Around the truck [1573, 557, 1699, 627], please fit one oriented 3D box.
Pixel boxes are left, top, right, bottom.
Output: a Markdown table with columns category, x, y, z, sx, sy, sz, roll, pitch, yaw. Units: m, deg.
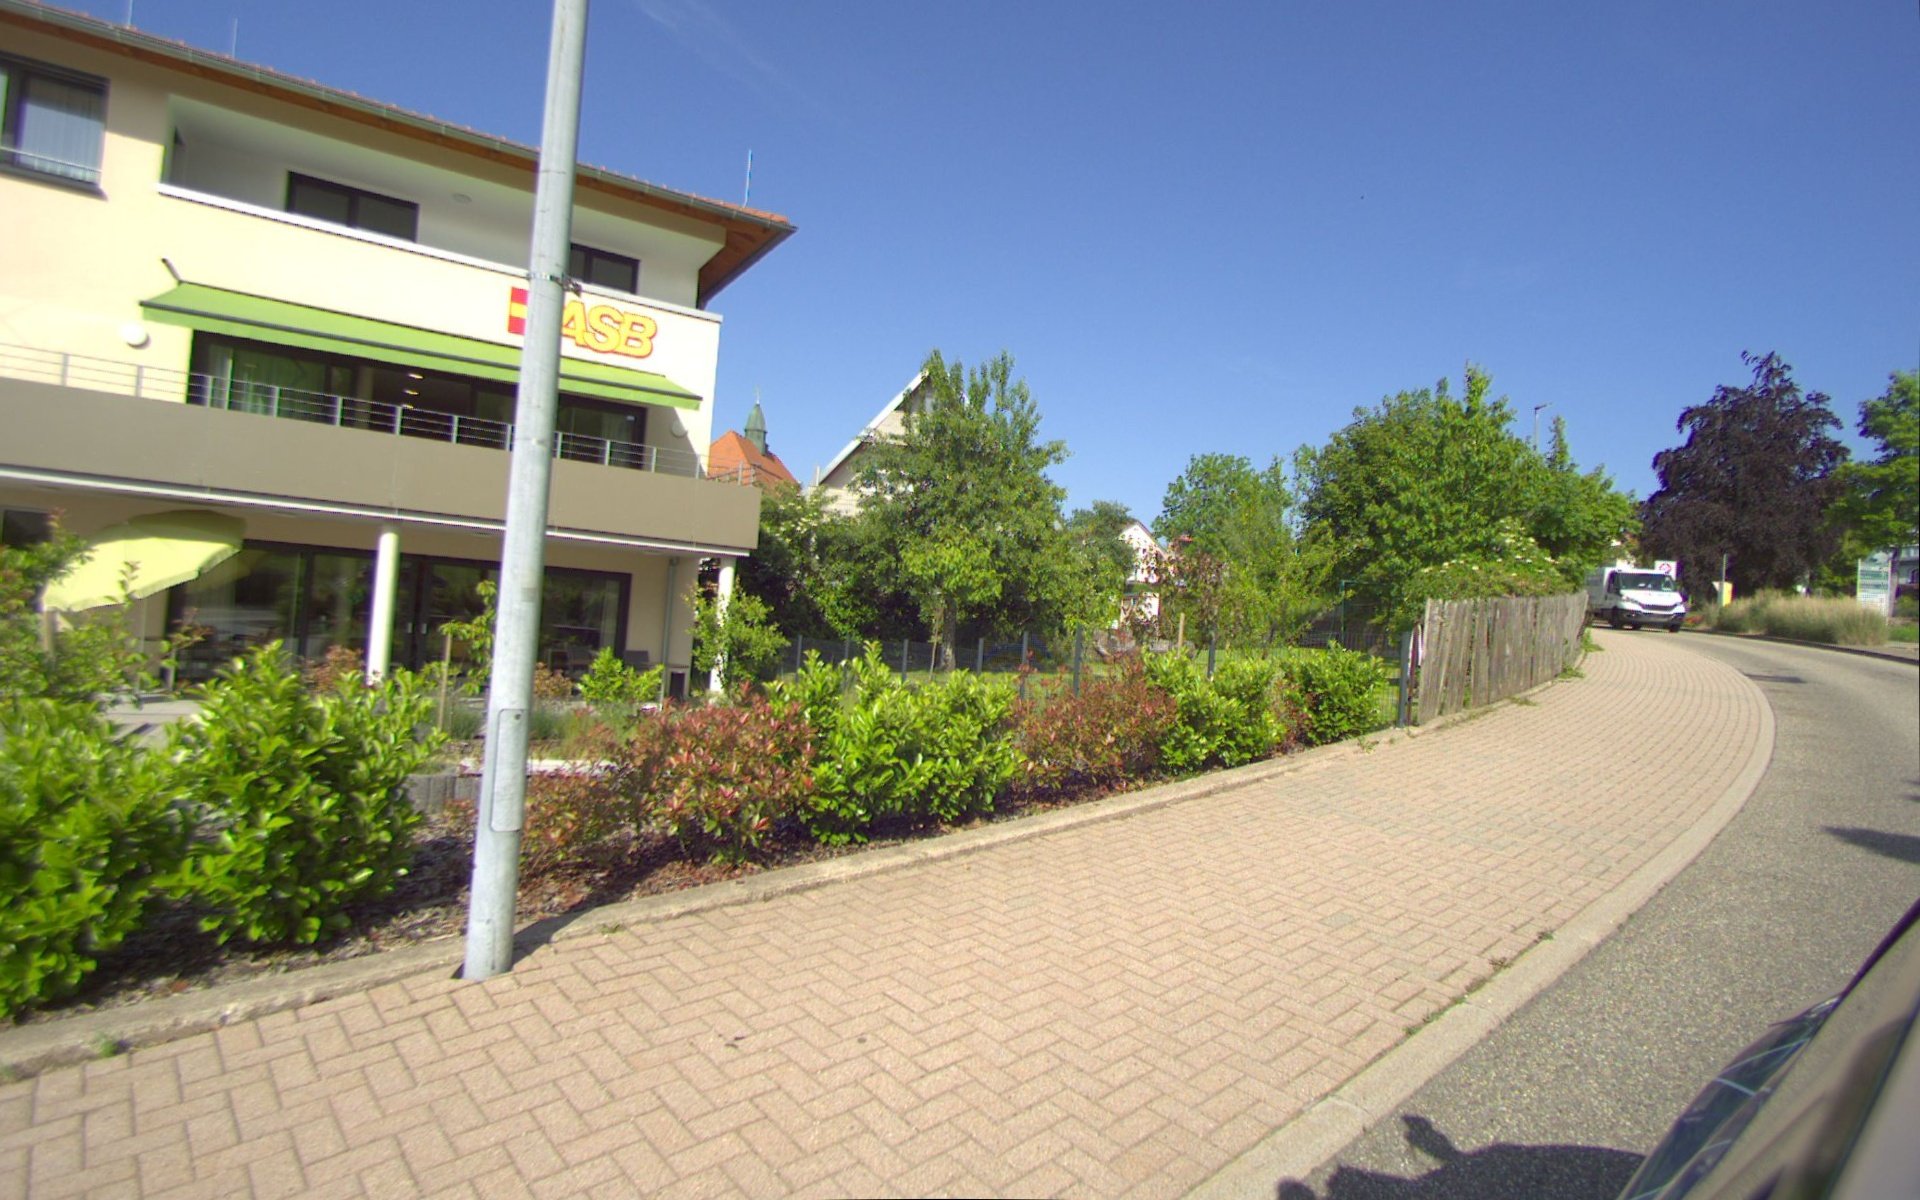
| category | x | y | z | sx | sy | sz | roll | pitch | yaw |
| --- | --- | --- | --- | --- | --- | --- | --- | --- | --- |
| truck | 25.062 | -0.223 | 37.850 | 1.972 | 2.372 | 6.460 | -1 | -1 | 16 |
